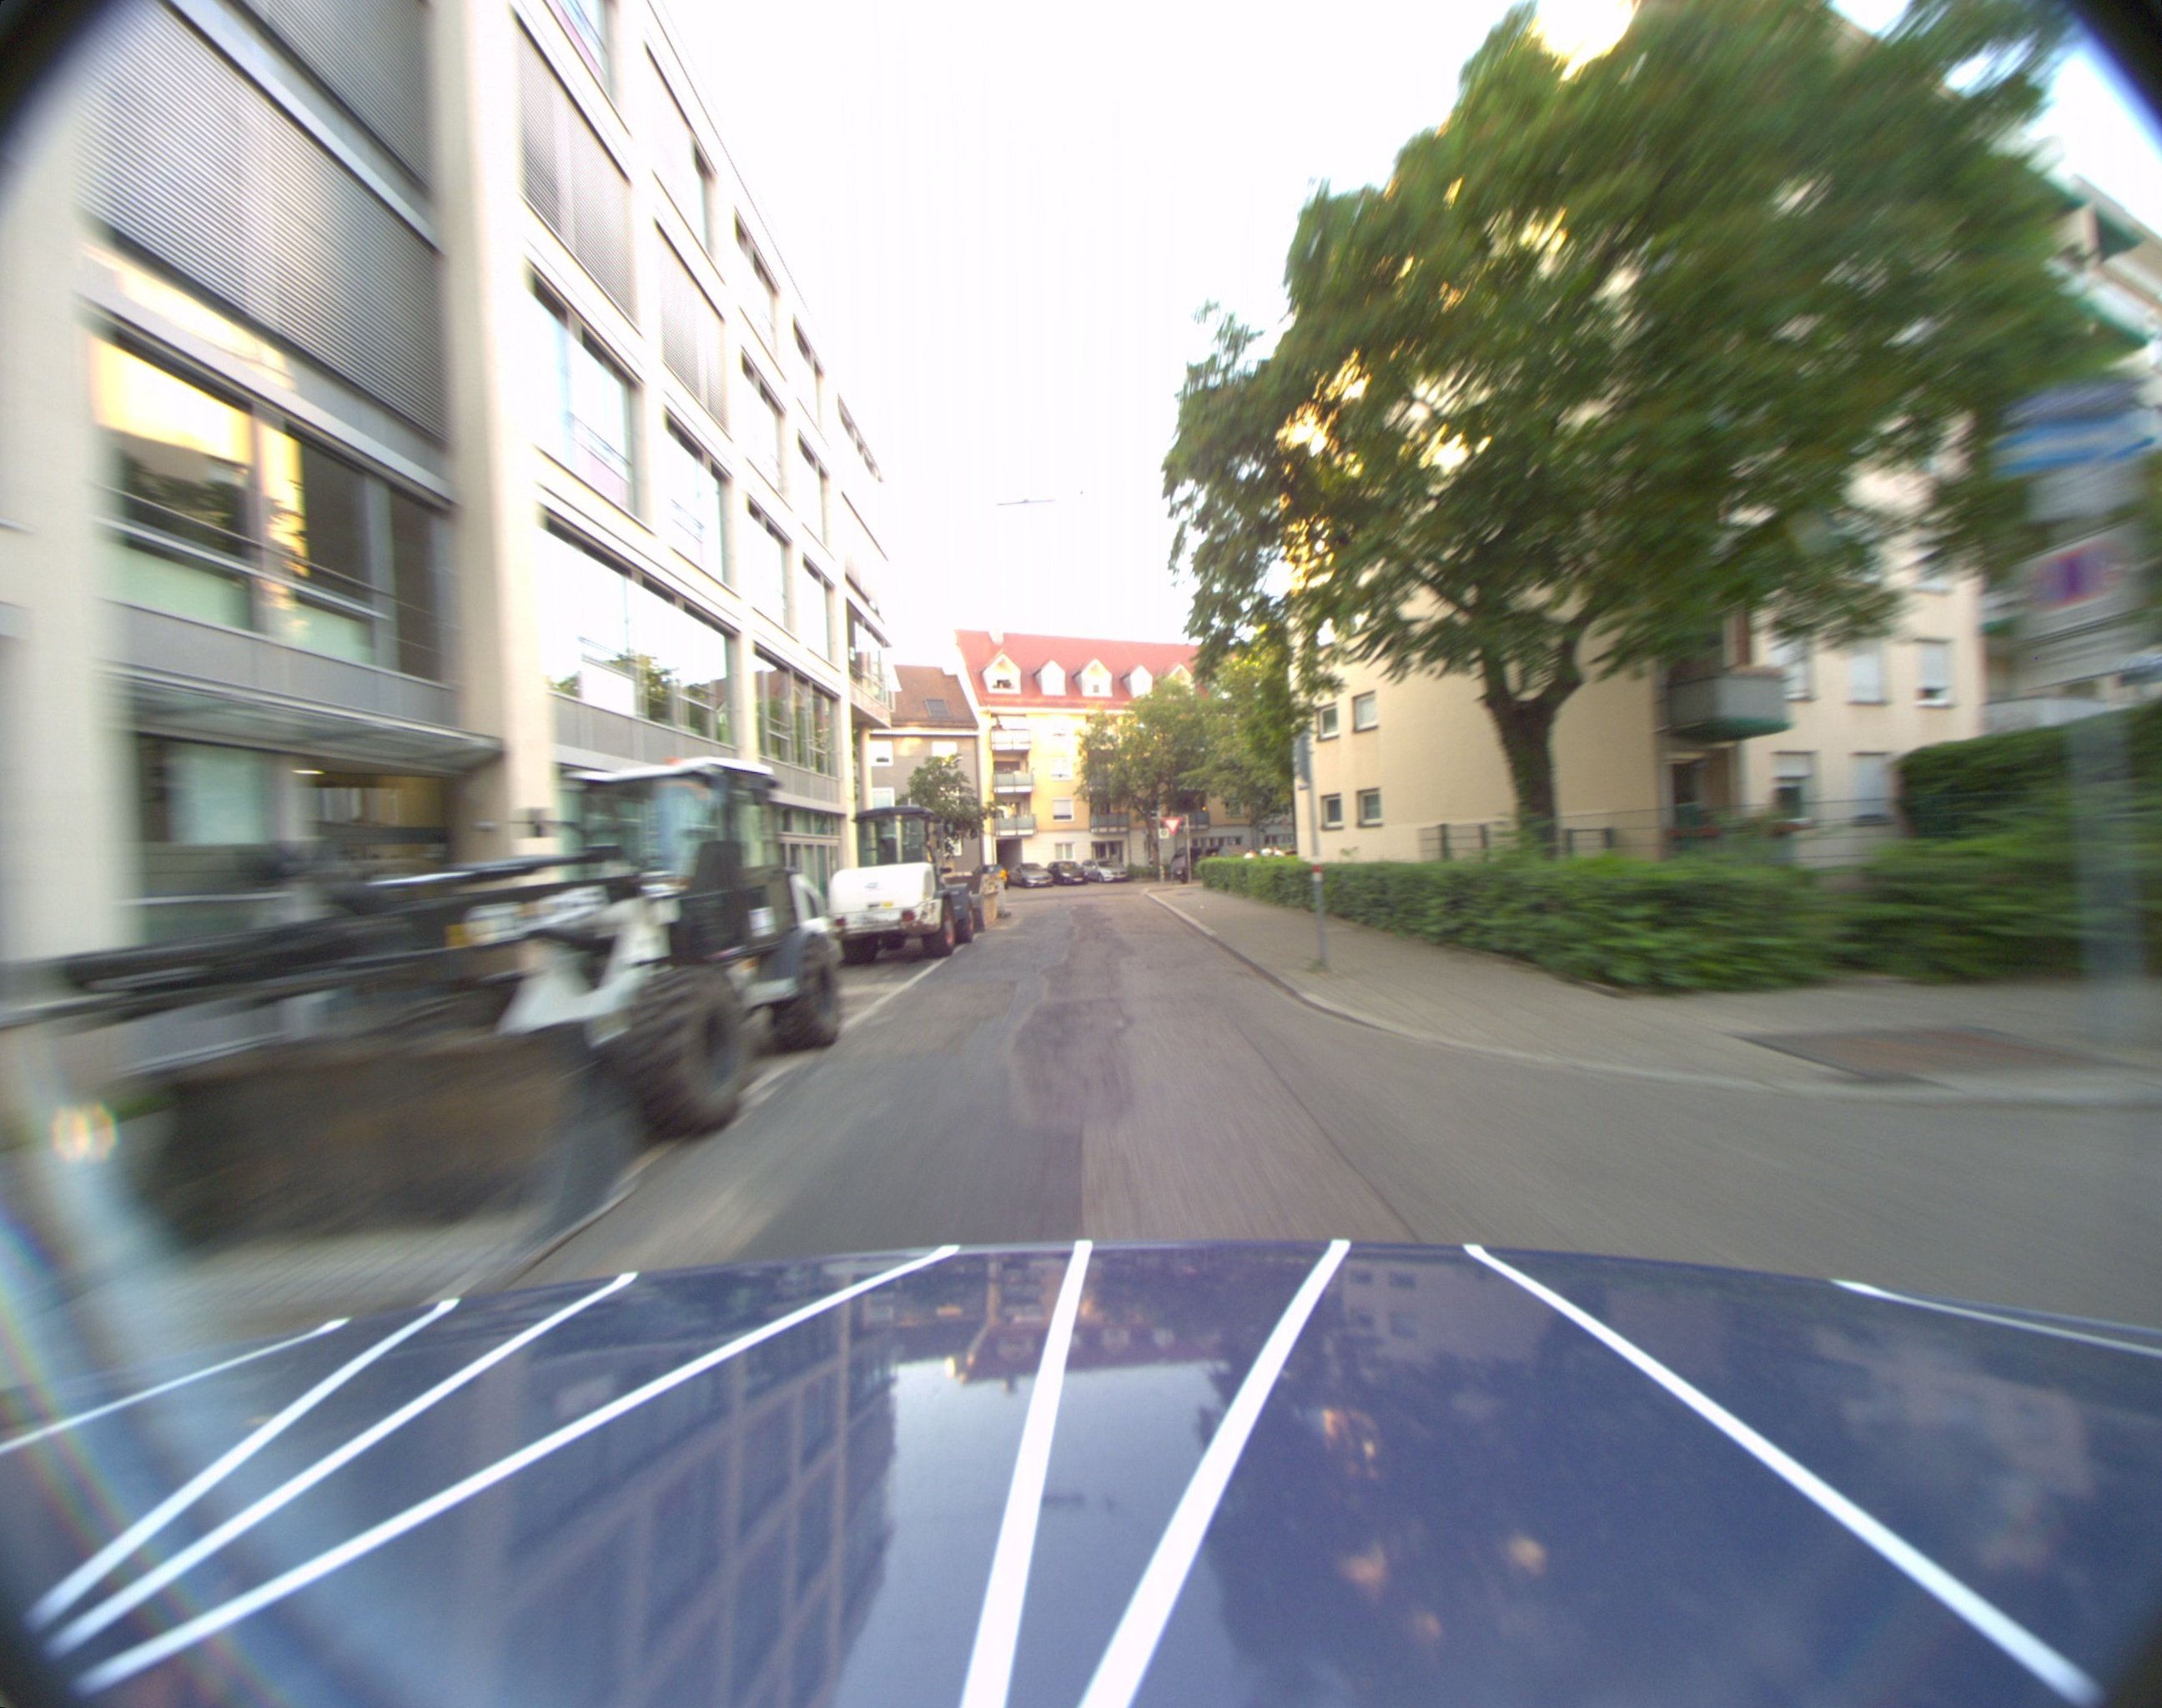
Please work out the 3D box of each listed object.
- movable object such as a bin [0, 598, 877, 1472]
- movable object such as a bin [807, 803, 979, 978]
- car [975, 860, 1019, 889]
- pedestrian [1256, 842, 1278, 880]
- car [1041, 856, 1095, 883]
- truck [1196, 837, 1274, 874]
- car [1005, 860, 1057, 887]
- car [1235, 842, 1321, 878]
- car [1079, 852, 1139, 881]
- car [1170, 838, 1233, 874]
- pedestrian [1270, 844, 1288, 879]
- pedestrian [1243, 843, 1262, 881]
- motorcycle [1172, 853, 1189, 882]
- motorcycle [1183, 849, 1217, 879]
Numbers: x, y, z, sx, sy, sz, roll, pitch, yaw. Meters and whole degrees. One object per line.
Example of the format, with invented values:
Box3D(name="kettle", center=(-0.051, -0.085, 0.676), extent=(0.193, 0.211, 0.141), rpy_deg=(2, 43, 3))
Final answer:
Box3D(name="movable object such as a bin", center=(-3.289, 0.575, 5.057), extent=(2.172, 2.581, 5.543), rpy_deg=(-3, 0, 1))
Box3D(name="movable object such as a bin", center=(-3.168, 0.553, 13.727), extent=(1.800, 2.619, 4.111), rpy_deg=(-3, 0, 3))
Box3D(name="car", center=(-5.057, 1.207, 45.381), extent=(1.747, 1.517, 3.355), rpy_deg=(-3, 2, -21))
Box3D(name="pedestrian", center=(8.895, 0.321, 36.407), extent=(0.666, 1.777, 0.698), rpy_deg=(-3, 0, -17))
Box3D(name="car", center=(-0.854, 0.972, 47.299), extent=(1.855, 1.554, 4.073), rpy_deg=(-3, 0, -23))
Box3D(name="truck", center=(10.423, 0.019, 51.946), extent=(2.263, 2.122, 6.010), rpy_deg=(-3, 4, -21))
Box3D(name="car", center=(-3.131, 1.173, 46.619), extent=(1.874, 1.499, 4.286), rpy_deg=(-3, 0, -23))
Box3D(name="car", center=(10.226, 0.344, 39.785), extent=(2.056, 1.571, 4.507), rpy_deg=(-3, -2, -21))
Box3D(name="car", center=(1.688, 0.811, 48.331), extent=(1.838, 1.694, 4.803), rpy_deg=(-3, 0, -23))
Box3D(name="car", center=(7.979, 0.059, 50.733), extent=(2.038, 2.122, 4.624), rpy_deg=(-3, 4, -21))
Box3D(name="pedestrian", center=(9.170, 0.337, 35.191), extent=(0.448, 1.563, 0.660), rpy_deg=(-3, 1, -17))
Box3D(name="pedestrian", center=(8.267, 0.372, 36.714), extent=(0.697, 1.777, 0.530), rpy_deg=(-3, 0, 28))
Box3D(name="motorcycle", center=(4.867, 0.641, 37.026), extent=(0.722, 1.366, 2.226), rpy_deg=(-3, 0, 9))
Box3D(name="motorcycle", center=(6.106, 0.520, 39.257), extent=(0.692, 1.485, 2.221), rpy_deg=(-3, 0, -20))
